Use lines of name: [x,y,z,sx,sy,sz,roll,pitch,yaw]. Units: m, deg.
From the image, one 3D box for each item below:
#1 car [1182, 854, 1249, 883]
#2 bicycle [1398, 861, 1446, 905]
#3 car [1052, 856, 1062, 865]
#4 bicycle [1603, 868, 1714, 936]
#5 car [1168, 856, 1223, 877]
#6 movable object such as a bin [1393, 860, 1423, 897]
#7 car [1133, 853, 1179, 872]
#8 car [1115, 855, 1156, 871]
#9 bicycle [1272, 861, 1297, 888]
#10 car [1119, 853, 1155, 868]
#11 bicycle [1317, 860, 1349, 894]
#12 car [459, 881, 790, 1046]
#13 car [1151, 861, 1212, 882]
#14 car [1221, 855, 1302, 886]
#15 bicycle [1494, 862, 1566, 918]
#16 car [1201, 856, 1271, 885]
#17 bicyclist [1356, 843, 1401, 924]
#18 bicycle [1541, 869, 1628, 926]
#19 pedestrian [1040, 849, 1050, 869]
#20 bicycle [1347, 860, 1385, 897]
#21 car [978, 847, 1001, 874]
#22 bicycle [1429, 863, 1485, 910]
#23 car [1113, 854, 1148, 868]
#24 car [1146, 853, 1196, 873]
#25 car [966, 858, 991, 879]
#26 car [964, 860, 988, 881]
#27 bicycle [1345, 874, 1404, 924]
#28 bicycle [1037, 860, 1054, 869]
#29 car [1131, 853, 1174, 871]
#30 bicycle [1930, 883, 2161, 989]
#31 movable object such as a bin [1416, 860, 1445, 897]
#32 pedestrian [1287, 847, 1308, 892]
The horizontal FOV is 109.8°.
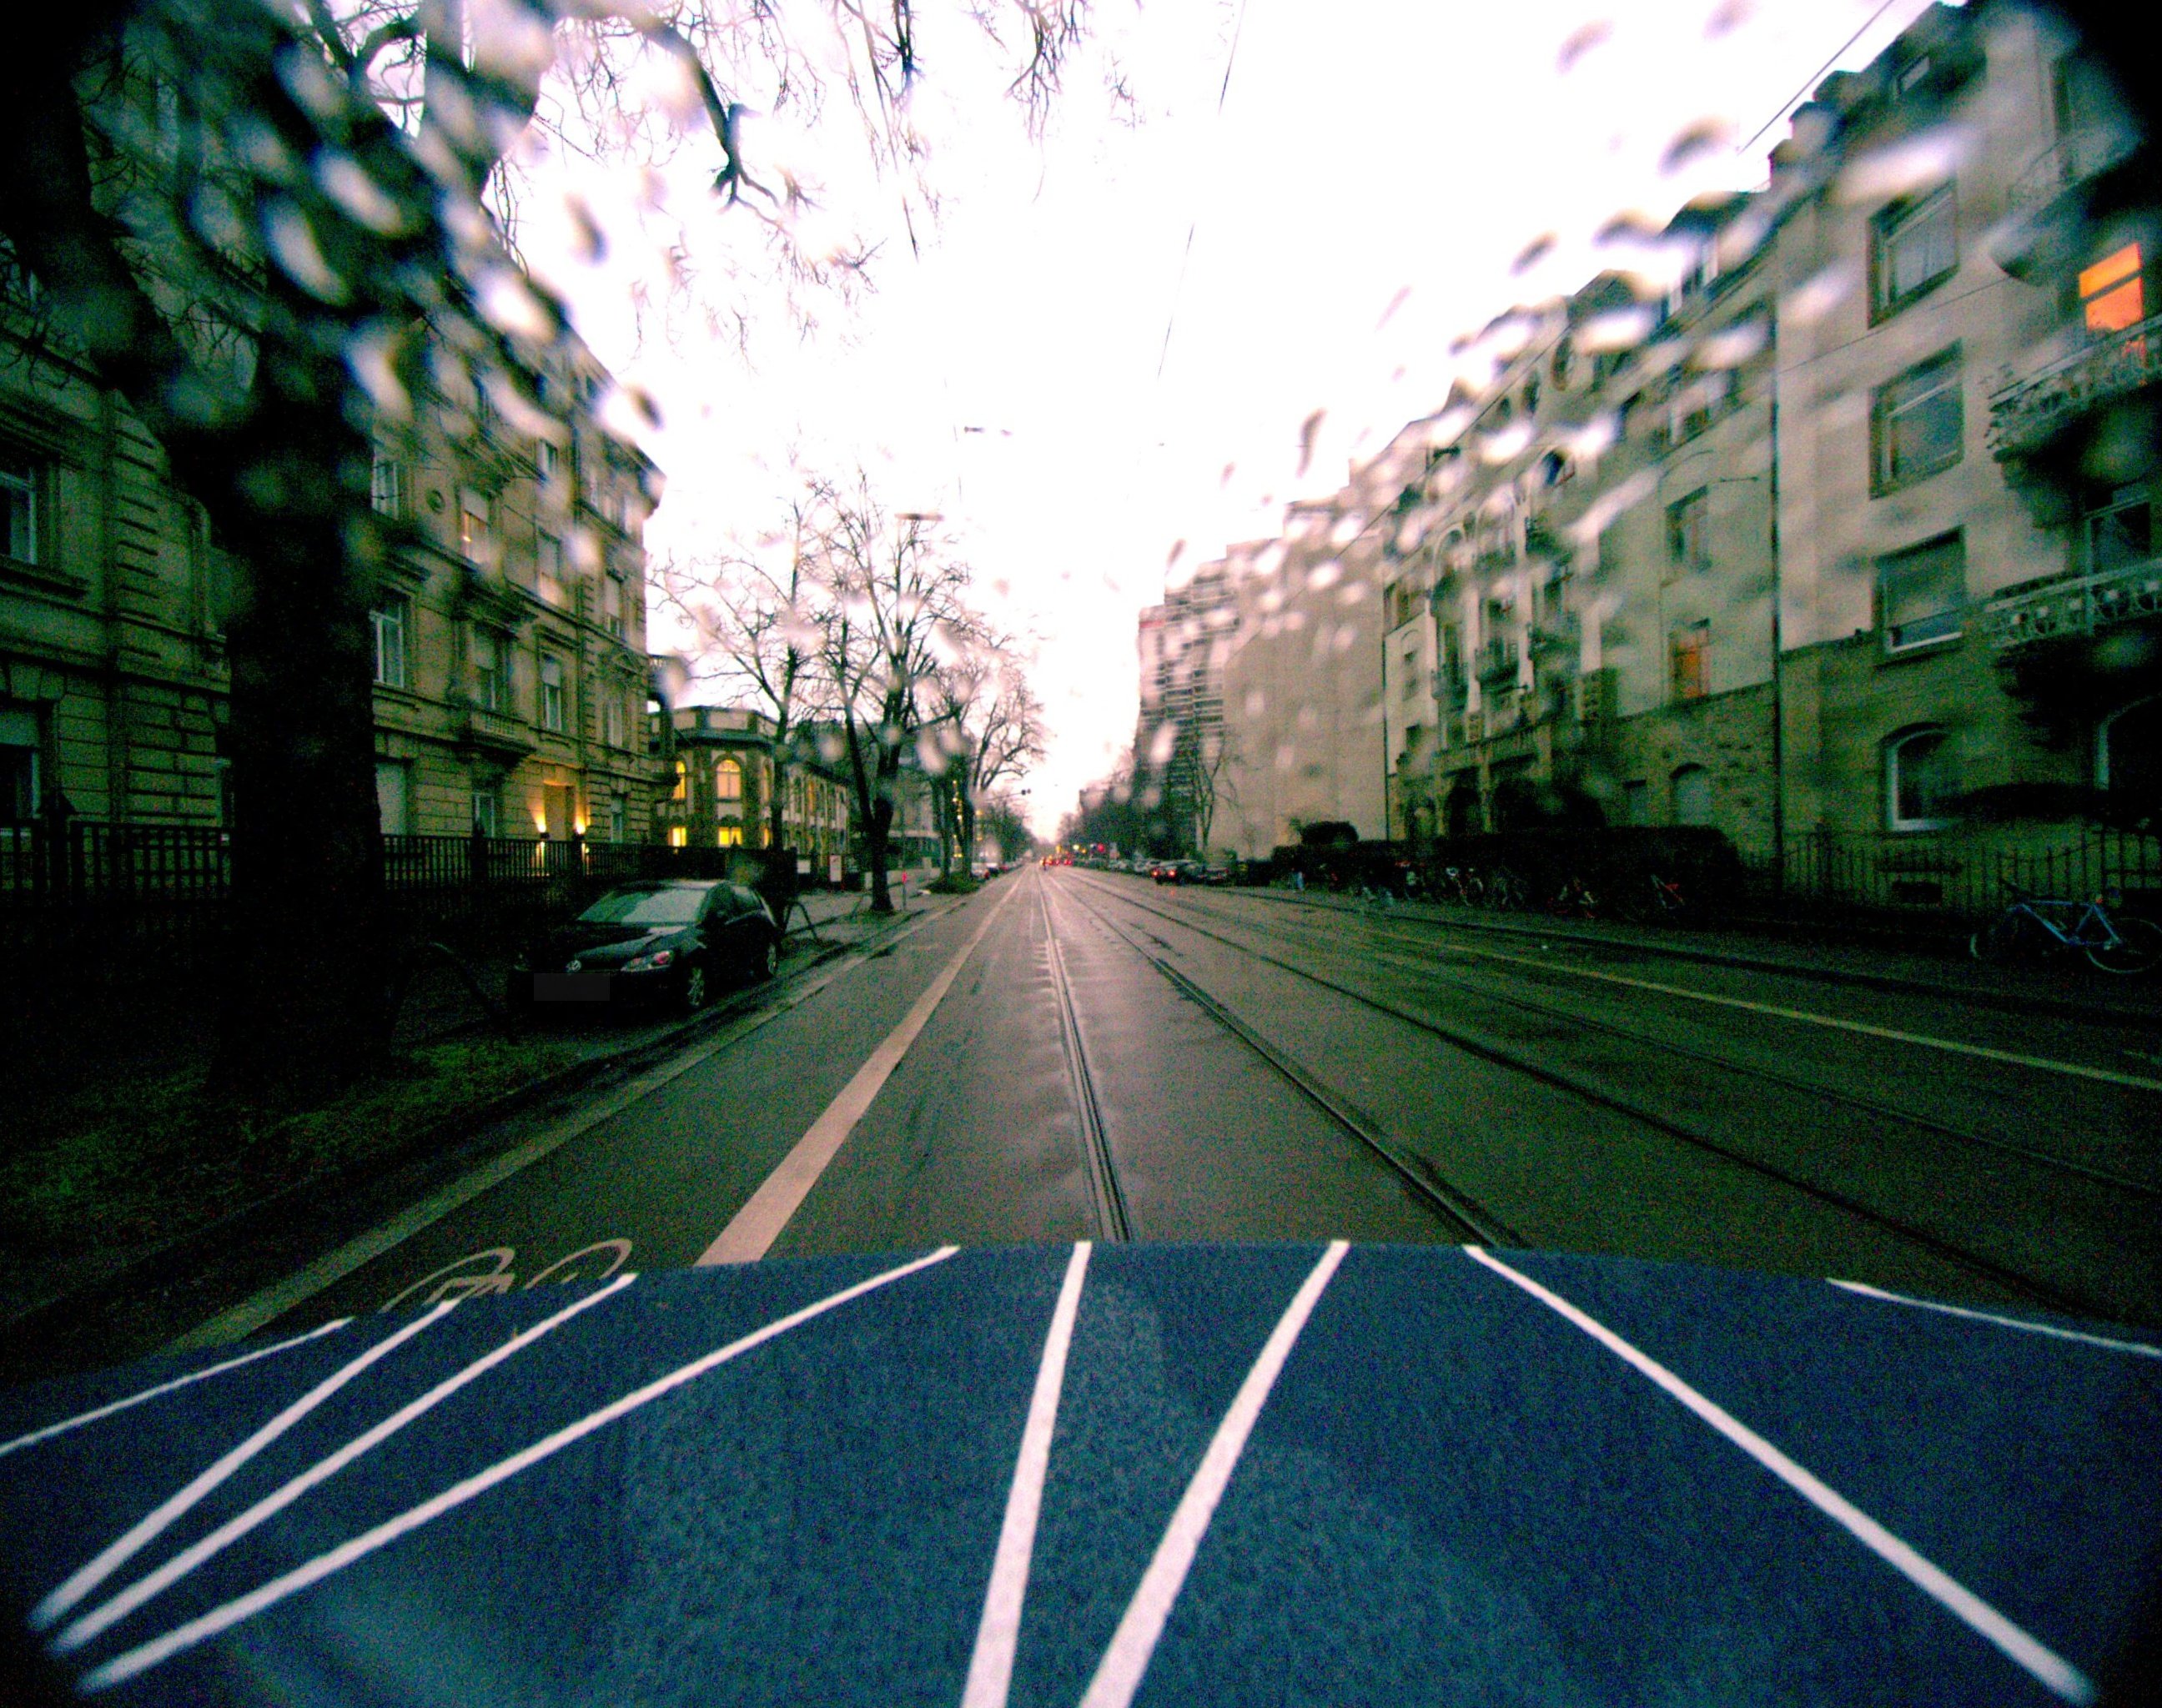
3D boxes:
car: [8.168,0.868,45.999,4.008,1.586,1.864,-2,0,-40]
bicycle: [9.954,0.820,22.217,0.625,1.205,1.662,-1,0,-1]
car: [-5.817,1.597,184.905,2.239,2.002,4.458,-2,1,-5]
bicycle: [10.441,0.827,13.815,0.625,1.119,1.783,-1,0,-1]
car: [8.637,0.946,56.986,4.008,1.440,1.864,-2,0,-40]
movable object such as a bin: [10.569,0.785,24.595,0.659,1.157,0.674,-1,0,-1]
car: [6.916,0.792,69.594,4.008,1.586,1.864,-2,0,-40]
car: [5.633,0.902,77.819,4.008,1.586,1.864,-2,0,-40]
bicycle: [9.074,0.895,33.971,0.625,1.157,1.662,-2,0,-1]
car: [6.583,0.761,89.295,4.008,1.586,1.864,-2,0,-40]
bicycle: [9.459,0.852,28.586,0.625,1.205,1.662,-1,0,-1]
car: [-5.099,1.112,9.264,1.763,1.437,4.156,1,-1,-4]
car: [6.230,1.053,46.914,3.673,1.245,1.707,0,0,-41]
car: [9.636,0.870,40.425,4.006,1.485,1.864,-2,0,-32]
bicycle: [10.287,0.802,17.468,0.625,1.205,1.662,-1,0,-1]
car: [8.817,0.900,43.079,4.008,1.477,1.760,-2,0,-40]
bicyclist: [7.051,0.689,18.042,0.625,1.865,0.991,-1,0,-1]
bicycle: [10.365,0.869,15.714,0.625,1.059,1.726,-1,0,-1]
pedestrian: [-4.147,0.593,87.582,1.118,2.246,0.952,-2,1,-6]
bicycle: [9.796,0.831,26.169,0.625,1.205,1.662,-1,0,-1]
car: [-9.225,0.593,77.047,2.094,2.622,5.446,-2,1,-6]
bicycle: [9.981,0.835,20.221,0.625,1.157,1.662,-1,0,-1]
car: [5.952,0.798,91.500,4.008,1.586,1.864,-2,0,-40]
car: [7.495,0.743,63.051,4.008,1.586,1.864,-2,0,-40]
car: [-9.019,1.240,67.009,2.000,1.672,3.997,-2,1,-6]
car: [-7.832,1.204,57.042,1.628,1.399,3.997,-2,1,-6]
bicycle: [7.050,1.050,18.332,0.625,1.086,1.947,-1,0,-1]
bicycle: [-4.127,1.204,87.595,1.918,0.986,0.858,-2,1,-5]
car: [6.854,0.773,72.717,4.008,1.586,1.864,-2,0,-40]
bicycle: [10.737,0.854,8.493,0.625,0.997,1.662,-1,0,-1]
movable object such as a bin: [11.308,0.782,24.608,0.625,1.157,0.674,-1,0,-1]
pedestrian: [8.502,0.606,29.865,0.574,1.715,0.644,-3,2,1]
